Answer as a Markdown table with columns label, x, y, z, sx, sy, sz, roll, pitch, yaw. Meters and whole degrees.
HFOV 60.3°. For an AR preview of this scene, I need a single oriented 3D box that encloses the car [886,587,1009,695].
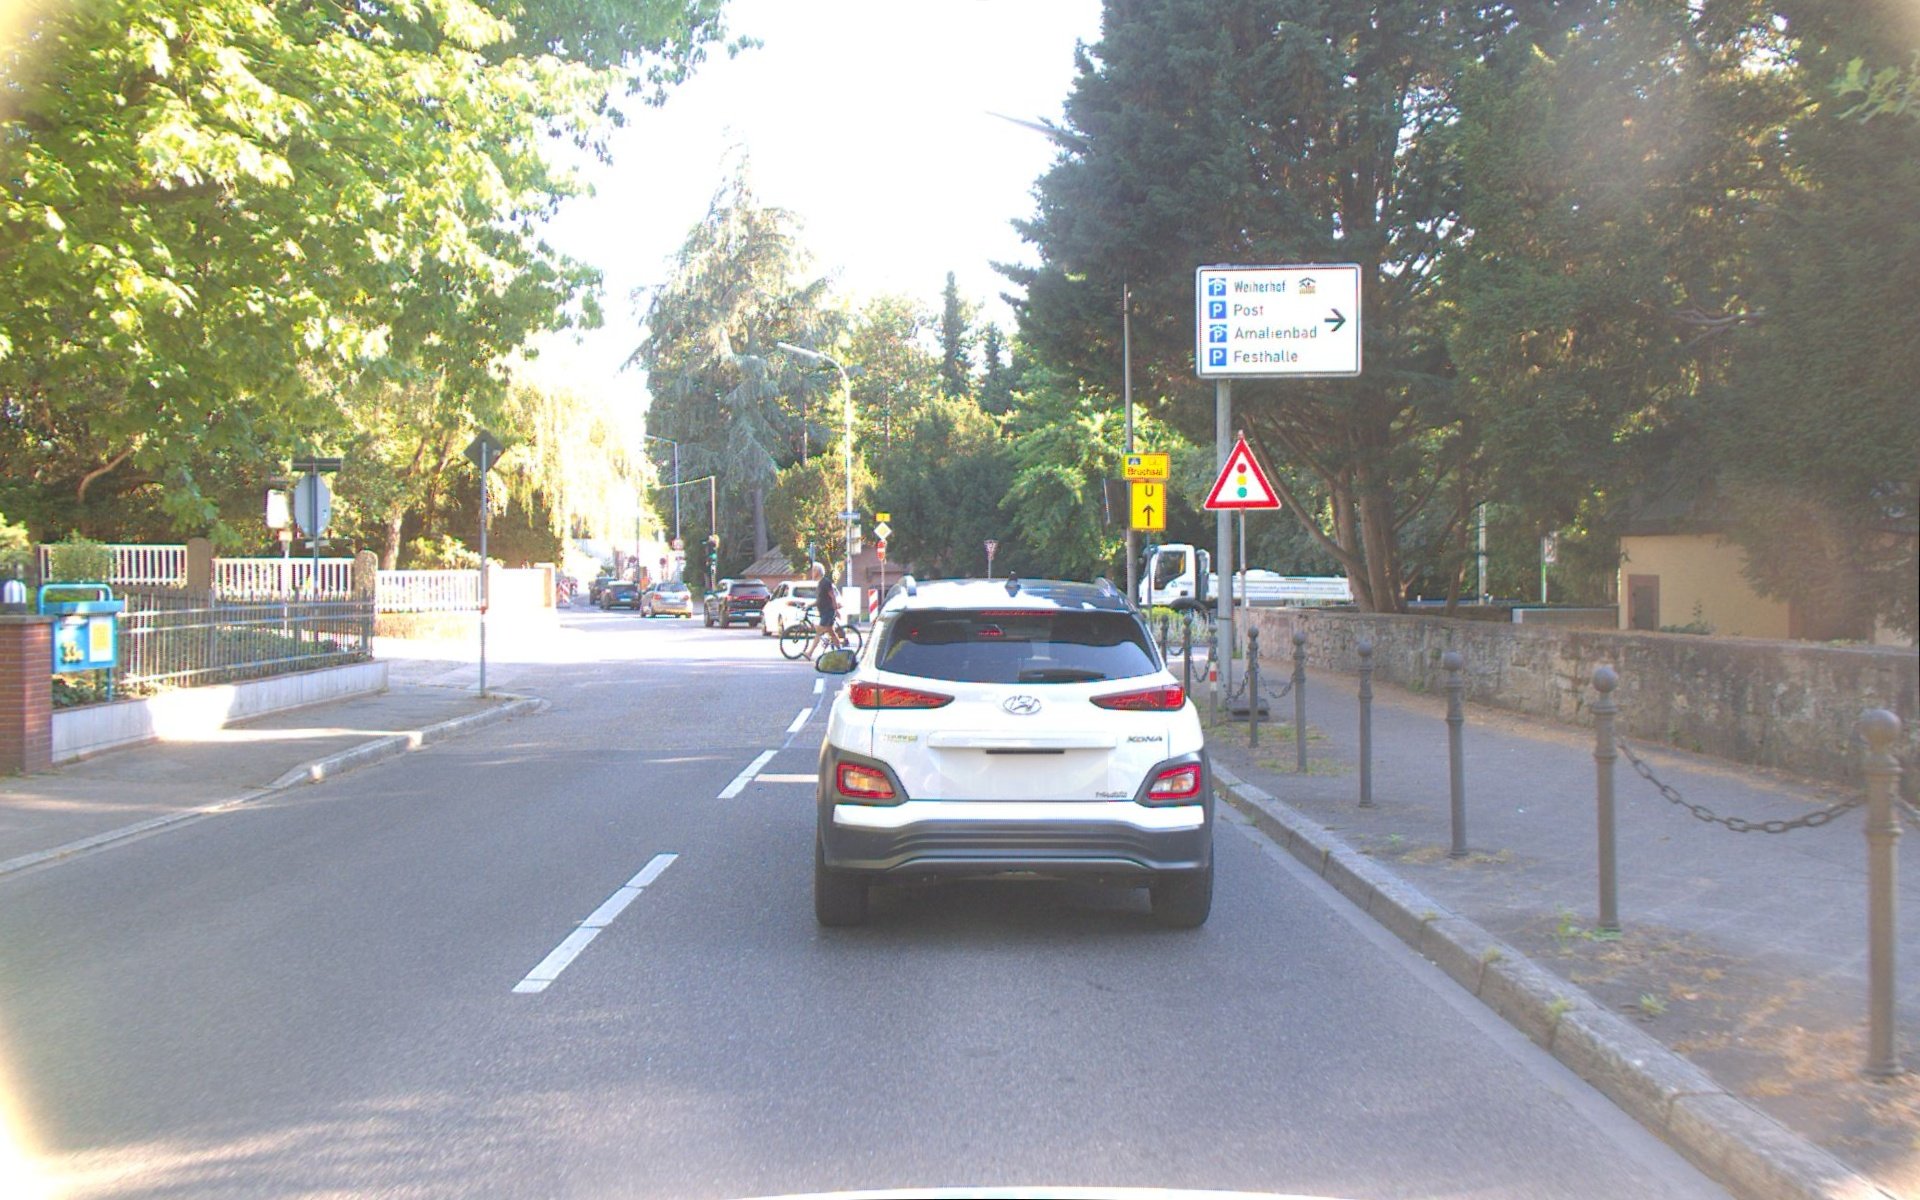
| label | x | y | z | sx | sy | sz | roll | pitch | yaw |
| --- | --- | --- | --- | --- | --- | --- | --- | --- | --- |
| car | -0.208 | 0.550 | 25.112 | 1.673 | 1.459 | 4.364 | 2 | 0 | -1 |

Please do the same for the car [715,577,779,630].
| label | x | y | z | sx | sy | sz | roll | pitch | yaw |
| --- | --- | --- | --- | --- | --- | --- | --- | --- | --- |
| car | -7.247 | 0.082 | 55.909 | 1.799 | 1.691 | 3.988 | 2 | 0 | -12 |

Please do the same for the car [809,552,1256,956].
| label | x | y | z | sx | sy | sz | roll | pitch | yaw |
| --- | --- | --- | --- | --- | --- | --- | --- | --- | --- |
| car | 0.259 | 0.616 | 8.745 | 1.783 | 1.601 | 3.999 | 2 | 0 | -1 |

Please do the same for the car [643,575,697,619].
| label | x | y | z | sx | sy | sz | roll | pitch | yaw |
| --- | --- | --- | --- | --- | --- | --- | --- | --- | --- |
| car | -12.448 | -0.165 | 70.780 | 1.802 | 1.771 | 3.982 | 1 | 0 | -16 |

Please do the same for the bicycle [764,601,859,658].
| label | x | y | z | sx | sy | sz | roll | pitch | yaw |
| --- | --- | --- | --- | --- | --- | --- | --- | --- | --- |
| bicycle | -2.874 | 0.569 | 32.029 | 1.799 | 1.061 | 0.554 | 1 | 2 | -39 |

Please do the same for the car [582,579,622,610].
| label | x | y | z | sx | sy | sz | roll | pitch | yaw |
| --- | --- | --- | --- | --- | --- | --- | --- | --- | --- |
| car | -20.740 | -0.332 | 95.821 | 1.804 | 1.691 | 3.978 | 1 | 0 | -19 |

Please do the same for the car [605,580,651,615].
| label | x | y | z | sx | sy | sz | roll | pitch | yaw |
| --- | --- | --- | --- | --- | --- | --- | --- | --- | --- |
| car | -16.668 | -0.140 | 82.861 | 1.803 | 1.691 | 3.980 | 1 | 0 | -18 |

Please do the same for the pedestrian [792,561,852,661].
| label | x | y | z | sx | sy | sz | roll | pitch | yaw |
| --- | --- | --- | --- | --- | --- | --- | --- | --- | --- |
| pedestrian | -2.623 | 0.212 | 31.538 | 0.934 | 1.857 | 0.547 | 1 | 2 | -39 |

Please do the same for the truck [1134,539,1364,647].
| label | x | y | z | sx | sy | sz | roll | pitch | yaw |
| --- | --- | --- | --- | --- | --- | --- | --- | --- | --- |
| truck | 8.457 | -0.224 | 49.015 | 6.449 | 2.945 | 2.434 | 2 | 0 | 4 |

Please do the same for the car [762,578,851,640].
| label | x | y | z | sx | sy | sz | roll | pitch | yaw |
| --- | --- | --- | --- | --- | --- | --- | --- | --- | --- |
| car | -4.238 | 0.216 | 45.121 | 1.775 | 1.564 | 3.985 | 1 | 0 | -14 |
